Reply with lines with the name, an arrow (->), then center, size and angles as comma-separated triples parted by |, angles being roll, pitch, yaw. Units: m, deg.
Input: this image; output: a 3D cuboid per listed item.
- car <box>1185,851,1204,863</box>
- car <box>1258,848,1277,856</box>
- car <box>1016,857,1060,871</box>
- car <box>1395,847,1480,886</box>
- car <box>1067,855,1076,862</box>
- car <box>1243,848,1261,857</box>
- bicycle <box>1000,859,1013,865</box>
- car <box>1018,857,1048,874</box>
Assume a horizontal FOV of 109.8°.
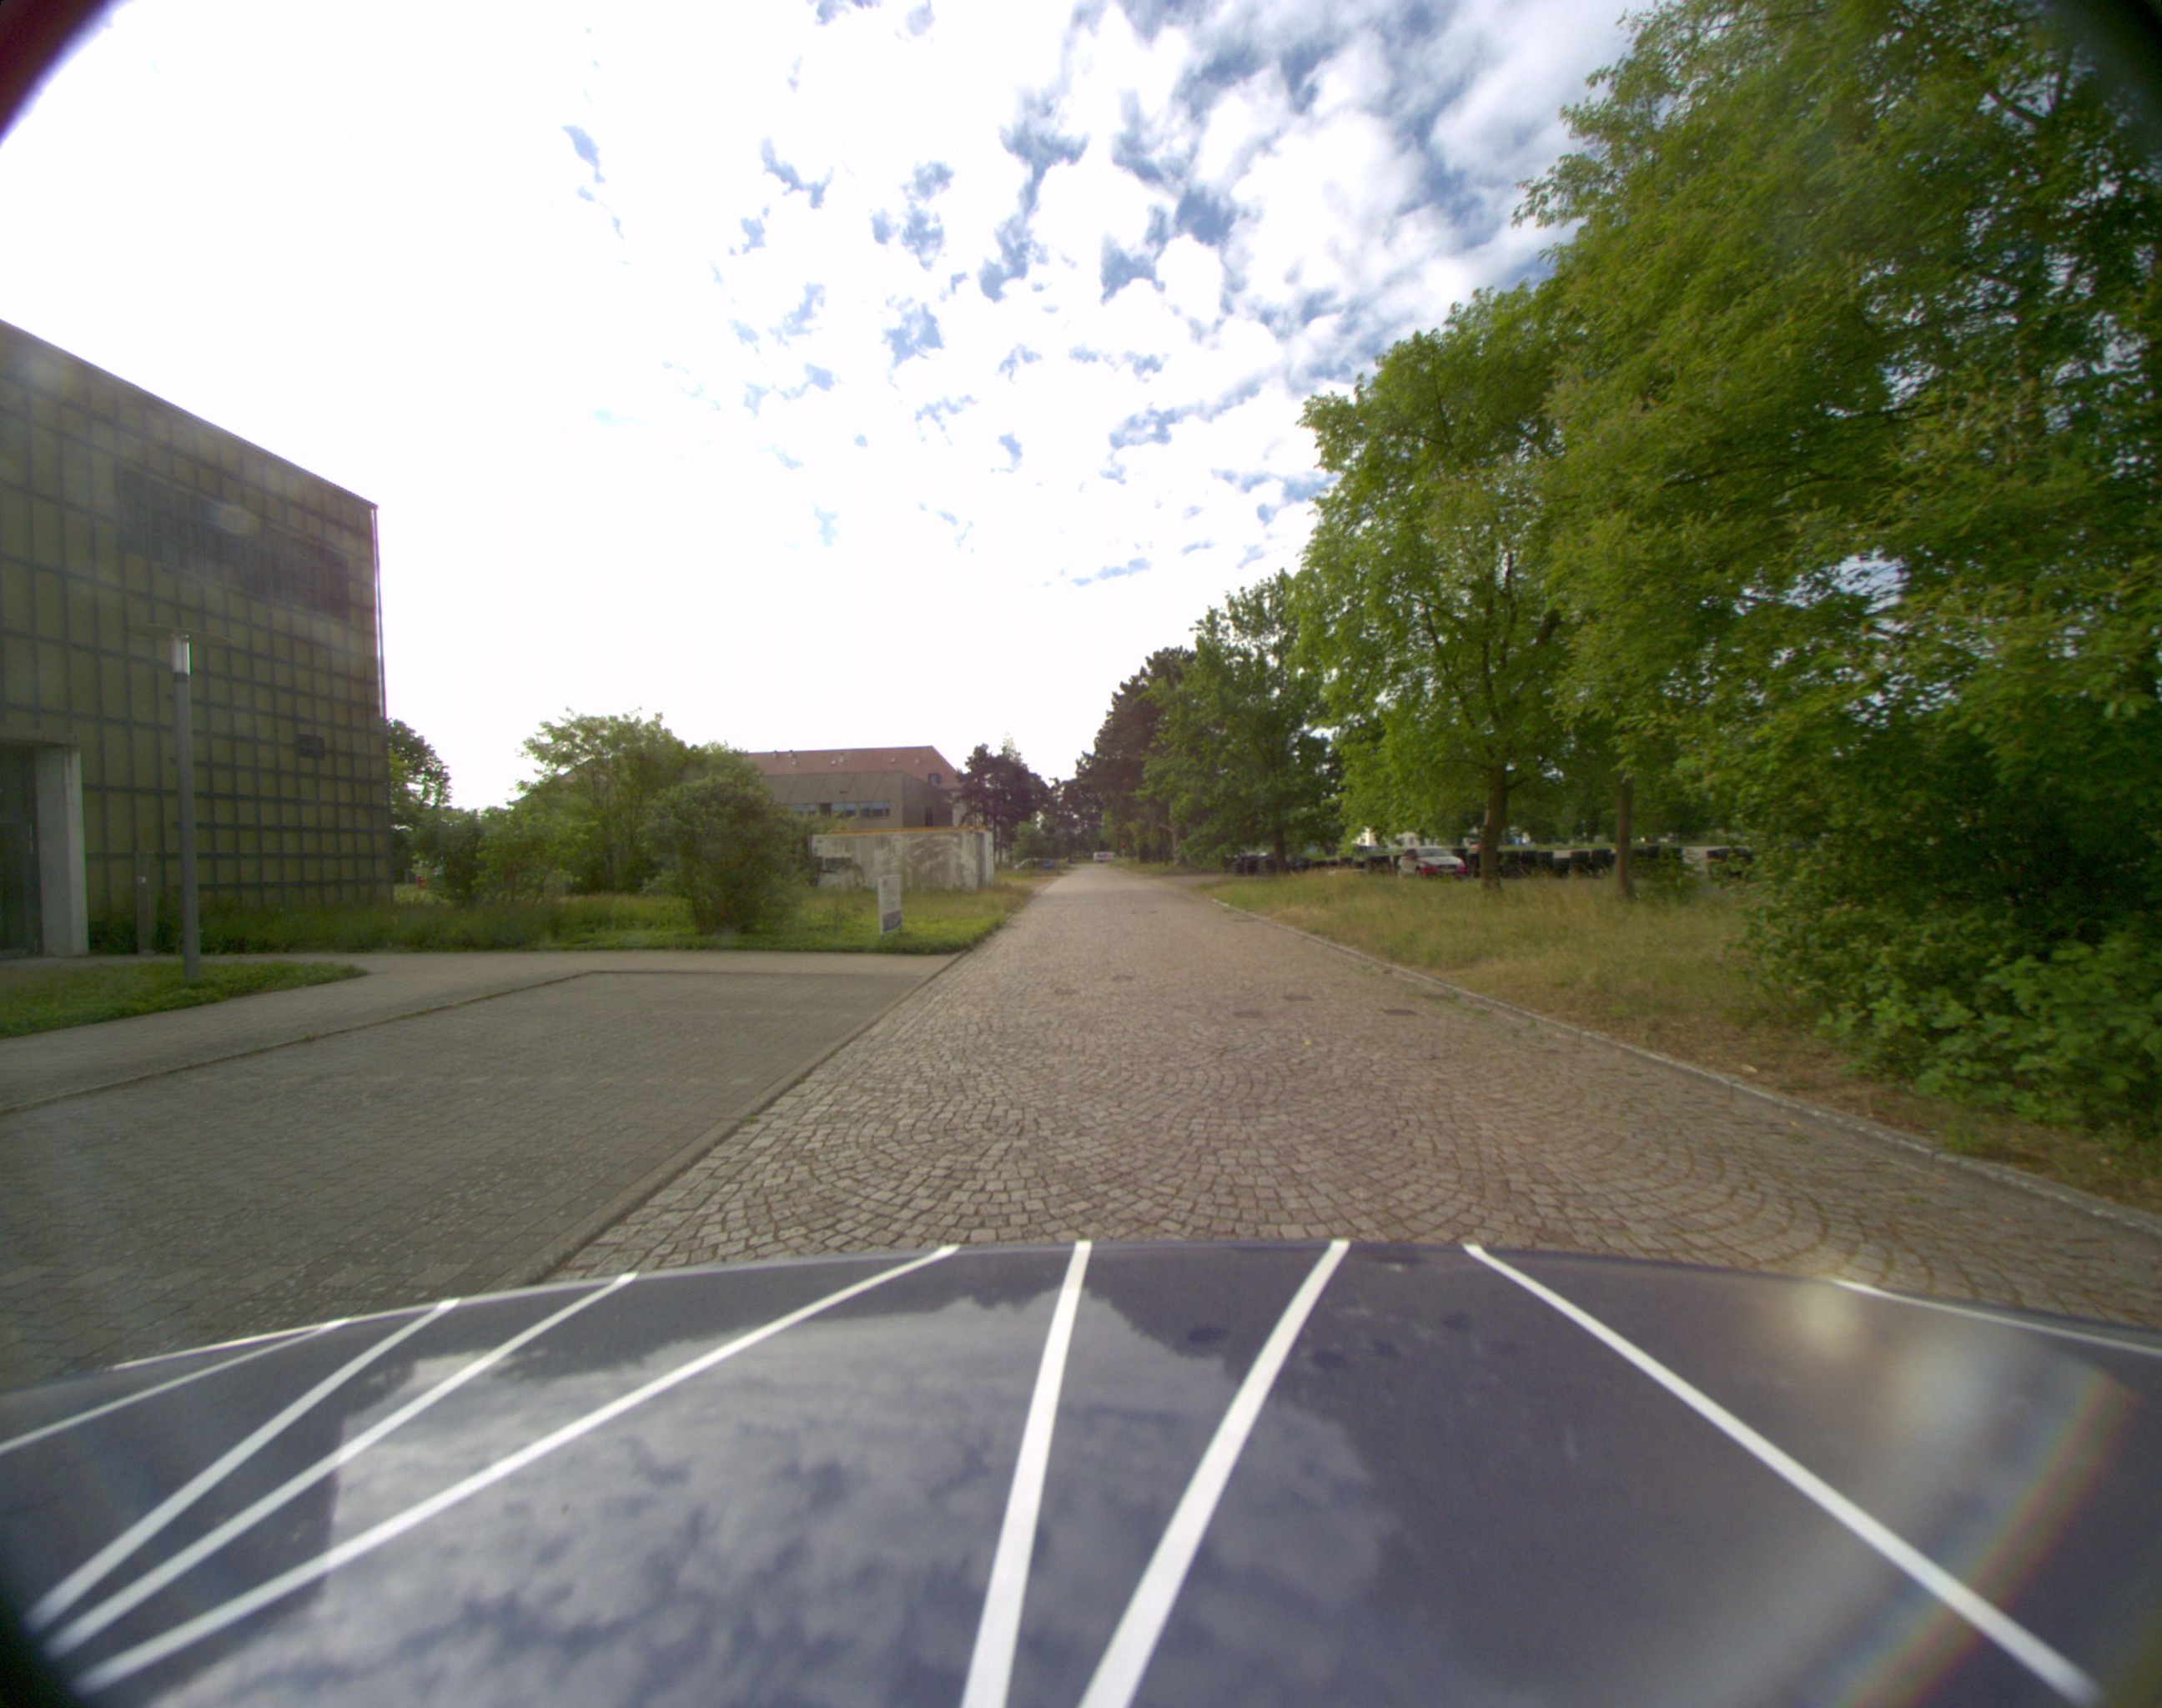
car -> 14.076, 0.351, 94.129 | 1.670, 1.402, 3.723 | -2, 0, -2
car -> 32.585, -0.355, 132.602 | 1.999, 1.441, 4.452 | -2, 0, -3
car -> -4.485, 1.083, 80.081 | 4.537, 1.441, 1.932 | 0, 0, -1
car -> 14.350, 0.471, 30.855 | 1.827, 1.423, 4.221 | -2, 0, 6
car -> -2.356, 1.146, 195.316 | 1.999, 1.777, 3.998 | -2, 0, -5
car -> 29.697, -0.280, 132.105 | 1.999, 1.441, 4.452 | -2, 0, -3
bicycle -> -13.592, 1.493, 138.376 | 2.164, 1.088, 0.717 | -2, 0, -3
car -> -4.604, 1.073, 72.793 | 2.748, 1.573, 1.683 | 0, 0, 1
